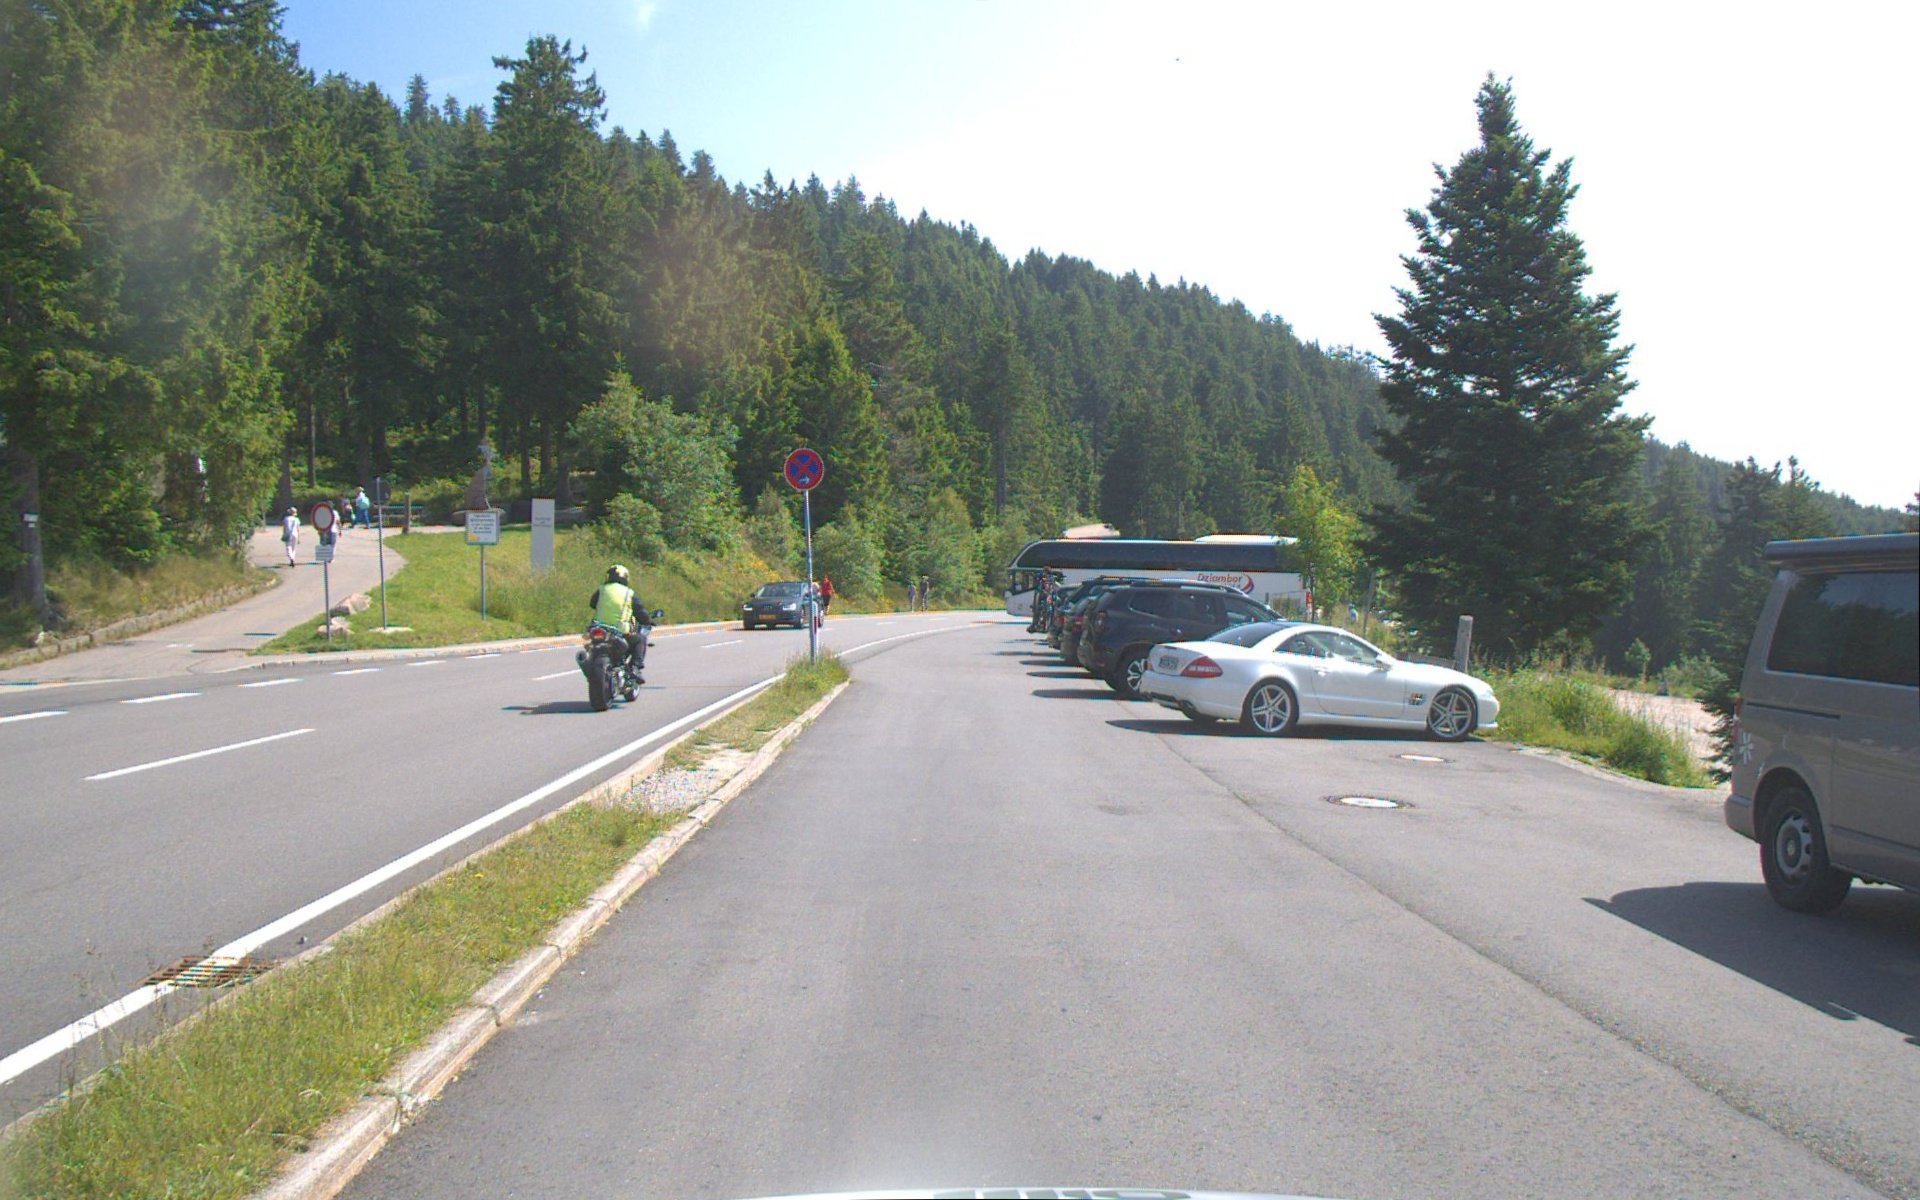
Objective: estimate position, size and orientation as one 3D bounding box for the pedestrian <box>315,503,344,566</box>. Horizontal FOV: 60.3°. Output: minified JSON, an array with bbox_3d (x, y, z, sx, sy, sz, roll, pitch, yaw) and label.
[{"bbox_3d":[-18.851,-1.955,49.488,0.640,1.830,0.642,-2,0,-9],"label":"pedestrian"}]

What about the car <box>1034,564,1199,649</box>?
[{"bbox_3d":[3.901,0.131,41.810,3.906,1.845,1.940,3,2,0],"label":"car"}]

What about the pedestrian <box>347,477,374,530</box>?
[{"bbox_3d":[-23.665,-3.797,65.292,0.800,2.048,0.851,-2,2,-11],"label":"pedestrian"}]

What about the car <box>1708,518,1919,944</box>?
[{"bbox_3d":[5.499,0.671,7.513,1.866,2.006,4.819,3,1,-1],"label":"car"}]

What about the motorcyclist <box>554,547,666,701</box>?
[{"bbox_3d":[-4.003,0.272,19.030,1.004,1.704,1.293,0,-1,0],"label":"motorcyclist"}]

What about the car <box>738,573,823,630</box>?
[{"bbox_3d":[-5.682,0.022,52.716,1.951,1.691,4.003,-1,1,5],"label":"car"}]

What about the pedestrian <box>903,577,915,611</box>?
[{"bbox_3d":[-2.901,-0.340,93.334,0.610,1.933,0.654,-2,-1,-3],"label":"pedestrian"}]

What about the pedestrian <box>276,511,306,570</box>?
[{"bbox_3d":[-19.581,-1.742,48.427,0.640,1.696,0.642,-2,0,-9],"label":"pedestrian"}]

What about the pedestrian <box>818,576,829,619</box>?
[{"bbox_3d":[-5.841,-0.112,70.697,0.387,1.777,0.406,-2,2,-3],"label":"pedestrian"}]

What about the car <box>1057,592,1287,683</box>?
[{"bbox_3d":[3.522,0.616,27.843,3.564,1.326,1.640,2,2,-4],"label":"car"}]

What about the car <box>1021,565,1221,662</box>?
[{"bbox_3d":[3.326,0.261,34.713,3.907,1.749,1.867,3,2,-3],"label":"car"}]

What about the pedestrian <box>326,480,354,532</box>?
[{"bbox_3d":[-24.929,-3.780,66.499,0.783,2.048,0.938,-2,2,-11],"label":"pedestrian"}]

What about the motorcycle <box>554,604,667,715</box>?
[{"bbox_3d":[-3.983,0.654,19.040,0.805,1.197,2.286,0,-1,0],"label":"motorcycle"}]

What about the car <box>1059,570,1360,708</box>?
[{"bbox_3d":[3.630,0.549,24.453,3.915,1.728,1.996,3,2,-10],"label":"car"}]

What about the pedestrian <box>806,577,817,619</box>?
[{"bbox_3d":[-6.371,-0.103,70.942,0.406,1.777,0.457,-2,2,-3],"label":"pedestrian"}]

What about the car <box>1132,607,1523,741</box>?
[{"bbox_3d":[4.429,0.888,19.950,4.385,1.321,1.574,3,1,-19],"label":"car"}]

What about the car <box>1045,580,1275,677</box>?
[{"bbox_3d":[3.660,0.510,30.810,3.908,1.478,1.999,3,2,-4],"label":"car"}]

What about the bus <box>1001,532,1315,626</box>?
[{"bbox_3d":[8.181,-0.905,68.270,12.586,3.640,2.985,0,3,14],"label":"bus"}]

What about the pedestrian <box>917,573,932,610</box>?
[{"bbox_3d":[-1.976,-0.458,92.524,0.718,2.049,0.862,-2,0,-3],"label":"pedestrian"}]
